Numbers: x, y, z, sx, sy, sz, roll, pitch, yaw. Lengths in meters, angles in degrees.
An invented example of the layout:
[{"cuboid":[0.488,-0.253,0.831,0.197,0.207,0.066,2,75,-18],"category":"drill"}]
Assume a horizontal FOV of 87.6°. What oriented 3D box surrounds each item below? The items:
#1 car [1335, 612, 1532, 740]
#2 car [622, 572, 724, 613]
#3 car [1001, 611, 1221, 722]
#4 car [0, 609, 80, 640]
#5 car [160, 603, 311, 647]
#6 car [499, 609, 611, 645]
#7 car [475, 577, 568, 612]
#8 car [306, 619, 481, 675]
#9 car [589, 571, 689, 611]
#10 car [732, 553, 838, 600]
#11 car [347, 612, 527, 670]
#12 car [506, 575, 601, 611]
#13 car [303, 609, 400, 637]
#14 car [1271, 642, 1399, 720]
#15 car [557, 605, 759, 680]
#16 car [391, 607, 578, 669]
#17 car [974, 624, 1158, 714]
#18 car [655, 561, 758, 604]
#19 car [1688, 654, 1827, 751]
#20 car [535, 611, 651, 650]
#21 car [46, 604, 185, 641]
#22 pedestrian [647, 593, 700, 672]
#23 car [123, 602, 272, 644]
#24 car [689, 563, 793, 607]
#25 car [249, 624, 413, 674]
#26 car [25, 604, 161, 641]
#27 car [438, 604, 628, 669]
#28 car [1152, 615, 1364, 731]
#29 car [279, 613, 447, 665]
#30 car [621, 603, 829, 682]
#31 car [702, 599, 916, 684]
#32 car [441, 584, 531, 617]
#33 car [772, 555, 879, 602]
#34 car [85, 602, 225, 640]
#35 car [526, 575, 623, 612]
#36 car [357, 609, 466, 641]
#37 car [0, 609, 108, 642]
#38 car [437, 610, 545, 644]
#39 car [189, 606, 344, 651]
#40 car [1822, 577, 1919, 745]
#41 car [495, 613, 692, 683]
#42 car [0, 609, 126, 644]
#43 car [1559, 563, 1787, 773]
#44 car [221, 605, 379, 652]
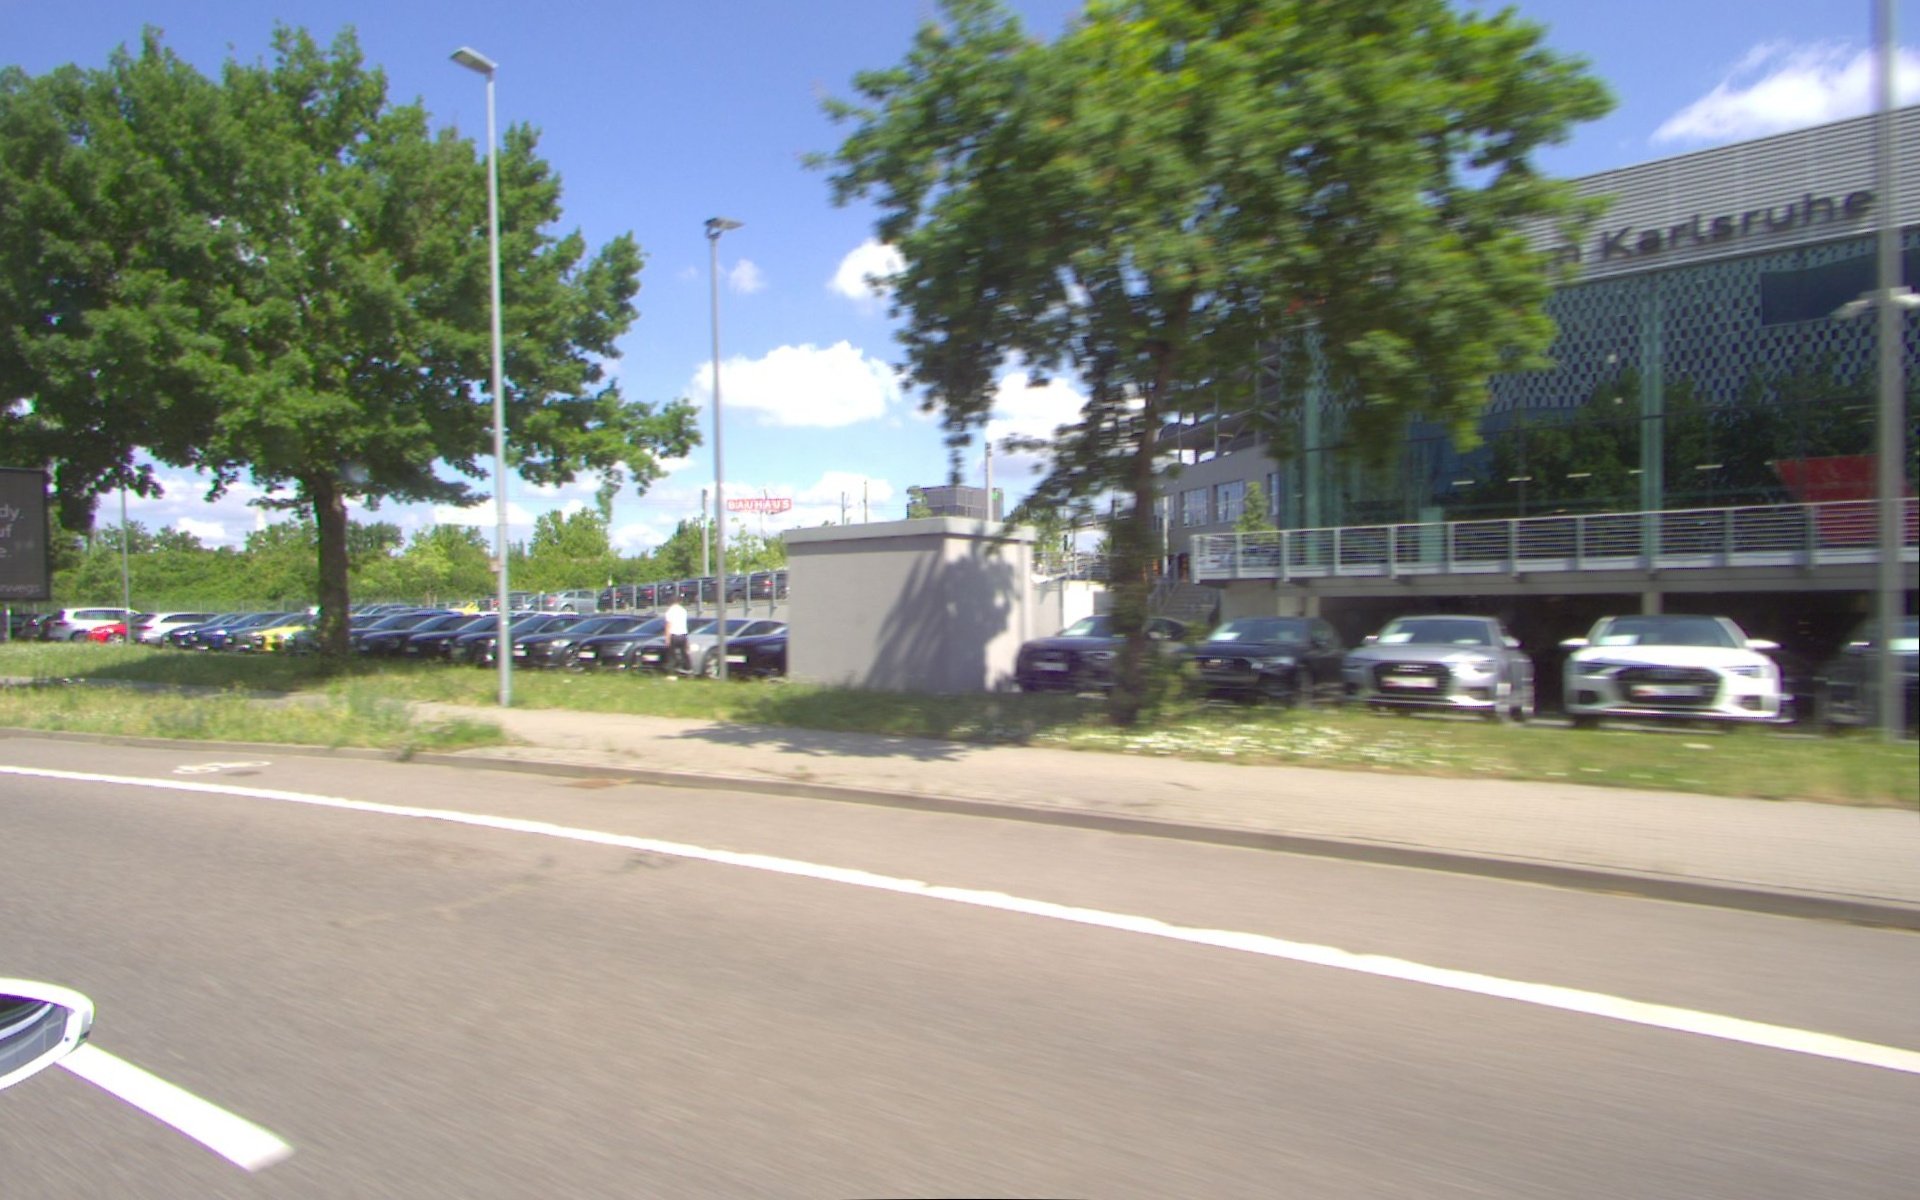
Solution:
[{"cuboid":[6.546,0.889,13.596,1.793,1.422,4.095,0,0,35],"category":"car"},{"cuboid":[-13.607,-0.344,47.663,1.911,1.798,4.339,2,0,38],"category":"car"},{"cuboid":[2.626,0.971,16.514,1.831,1.533,4.341,-1,0,35],"category":"car"},{"cuboid":[-48.555,1.242,51.701,1.908,1.533,4.345,2,0,33],"category":"car"},{"cuboid":[-27.878,0.950,38.642,1.908,1.533,4.345,2,0,33],"category":"car"},{"cuboid":[-18.016,1.175,44.705,1.881,1.518,4.334,-1,0,35],"category":"car"},{"cuboid":[-24.219,-0.270,55.467,1.911,1.798,4.339,2,0,38],"category":"car"},{"cuboid":[-17.479,1.397,31.107,1.908,1.533,4.345,2,0,33],"category":"car"},{"cuboid":[-15.698,-0.416,49.183,1.911,1.798,4.339,2,0,38],"category":"car"},{"cuboid":[-7.480,-0.976,43.174,1.911,1.798,4.339,2,0,38],"category":"car"},{"cuboid":[-15.364,1.153,29.624,1.908,1.533,4.345,2,0,33],"category":"car"},{"cuboid":[-21.810,-0.355,53.867,1.911,1.798,4.339,2,0,38],"category":"car"},{"cuboid":[-34.678,1.267,57.176,1.881,1.518,4.334,-1,0,35],"category":"car"},{"cuboid":[9.067,1.847,23.991,1.881,1.518,4.334,-1,0,35],"category":"car"},{"cuboid":[-6.973,0.944,23.577,1.908,1.533,4.345,2,0,33],"category":"car"},{"cuboid":[-13.141,1.015,27.905,1.908,1.533,4.345,2,0,33],"category":"car"},{"cuboid":[2.272,1.294,20.304,1.831,1.533,4.341,-1,0,35],"category":"car"},{"cuboid":[-11.628,-0.763,46.101,1.911,1.798,4.339,2,0,38],"category":"car"},{"cuboid":[15.883,1.943,20.153,1.881,1.518,4.334,-1,0,35],"category":"car"},{"cuboid":[-15.597,1.261,42.752,1.881,1.518,4.334,-1,0,35],"category":"car"},{"cuboid":[-37.210,0.978,44.224,1.908,1.533,4.345,2,0,33],"category":"car"},{"cuboid":[-5.579,0.625,19.502,0.761,1.479,0.631,2,1,34],"category":"pedestrian"},{"cuboid":[-30.204,0.913,39.811,1.908,1.533,4.345,2,0,33],"category":"car"},{"cuboid":[-9.761,-0.643,44.832,1.911,1.798,4.339,2,0,38],"category":"car"},{"cuboid":[-21.438,1.626,34.294,1.908,1.533,4.345,2,0,33],"category":"car"},{"cuboid":[-39.365,1.007,45.577,1.908,1.533,4.345,2,0,33],"category":"car"},{"cuboid":[-11.259,0.920,26.689,1.908,1.533,4.345,2,0,33],"category":"car"},{"cuboid":[4.565,0.973,14.945,1.831,1.464,4.095,0,-1,35],"category":"car"},{"cuboid":[-19.490,1.220,32.861,1.908,1.533,4.345,2,0,33],"category":"car"},{"cuboid":[-5.054,0.879,22.113,1.908,1.533,4.345,2,0,33],"category":"car"},{"cuboid":[-2.982,0.798,20.643,1.885,1.533,4.343,2,0,35],"category":"car"},{"cuboid":[-27.775,0.039,58.780,1.911,1.798,4.339,2,0,38],"category":"car"},{"cuboid":[-5.559,-0.857,41.842,1.911,1.798,4.339,2,0,38],"category":"car"},{"cuboid":[-34.825,0.893,43.428,1.908,1.533,4.345,2,0,33],"category":"car"},{"cuboid":[-20.013,-0.314,52.152,1.911,1.798,4.339,2,0,38],"category":"car"},{"cuboid":[-27.031,1.208,49.489,1.881,1.518,4.334,-1,0,35],"category":"car"},{"cuboid":[-45.820,1.281,50.254,1.908,1.533,4.345,2,0,33],"category":"car"},{"cuboid":[-22.323,1.278,47.817,1.881,1.518,4.334,-1,0,35],"category":"car"},{"cuboid":[-25.584,1.034,37.091,1.908,1.533,4.345,2,0,33],"category":"car"},{"cuboid":[10.632,0.795,10.608,1.761,1.530,4.342,2,-5,35],"category":"car"},{"cuboid":[-9.021,1.123,25.015,1.908,1.533,4.345,2,0,33],"category":"car"},{"cuboid":[-42.910,1.234,47.825,1.908,1.533,4.345,2,0,33],"category":"car"},{"cuboid":[8.651,0.695,12.309,1.881,2.076,4.563,2,0,35],"category":"car"},{"cuboid":[-23.506,0.989,35.828,1.908,1.533,4.345,2,0,33],"category":"car"}]
